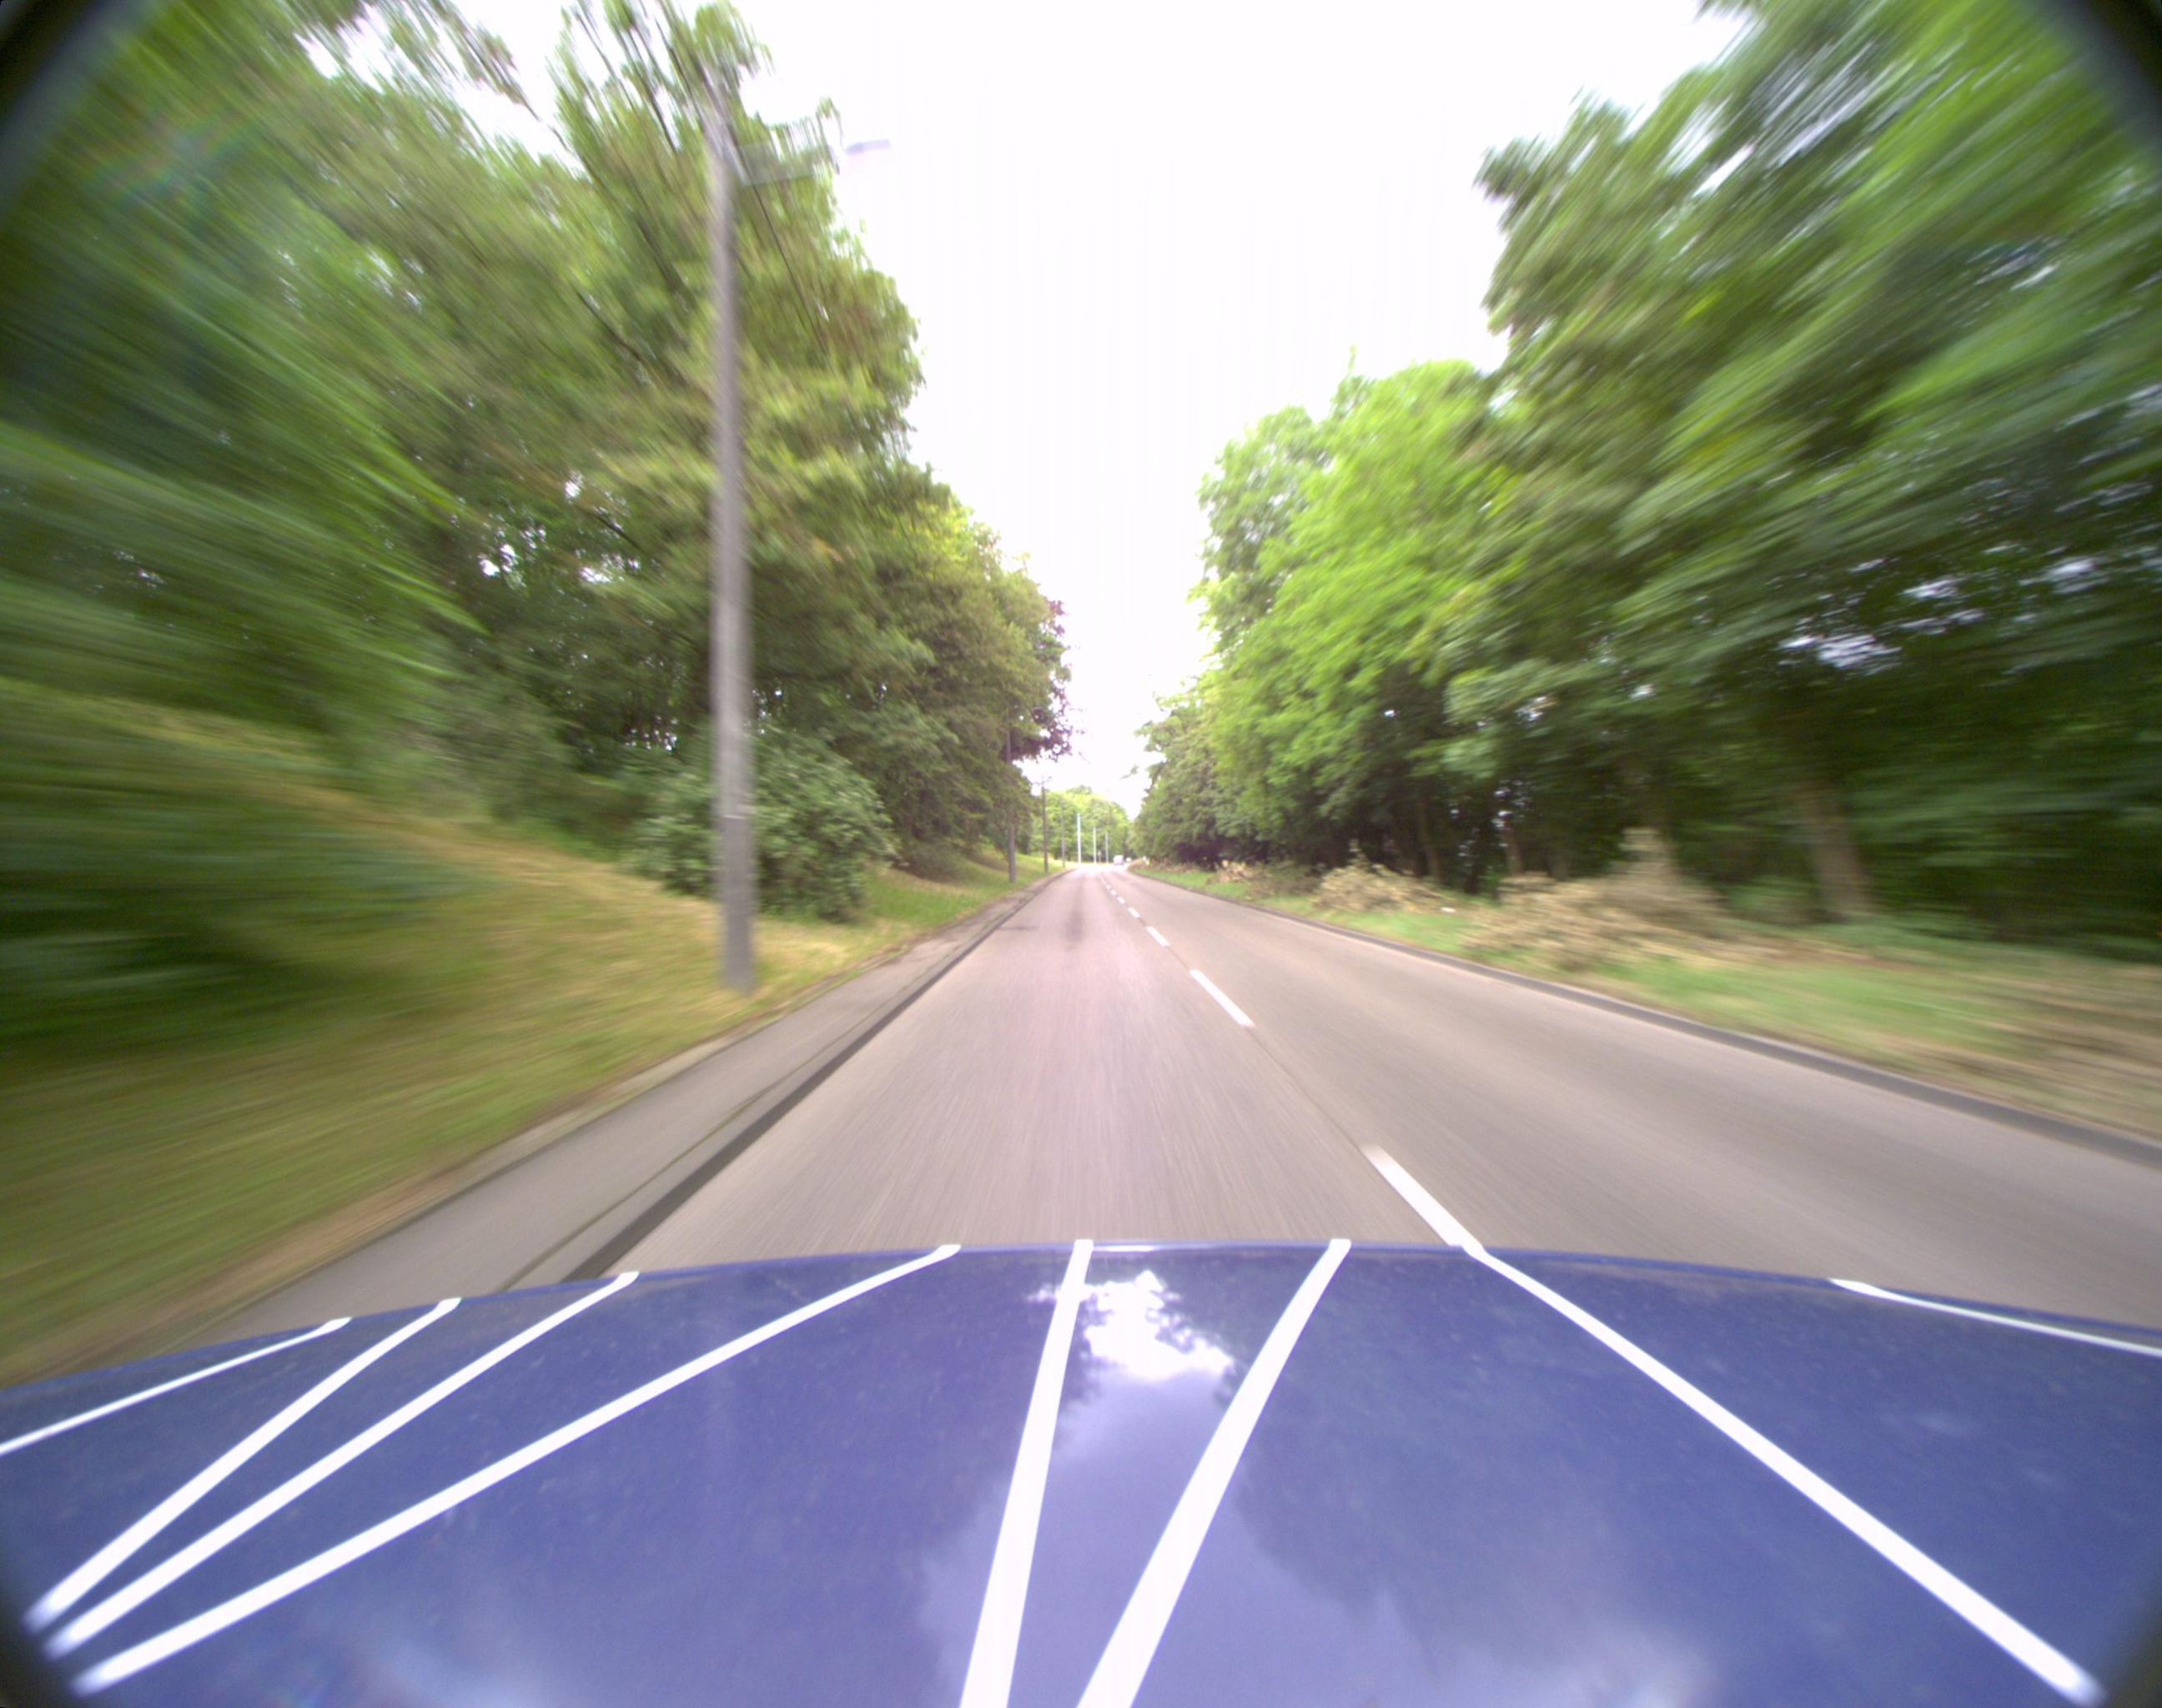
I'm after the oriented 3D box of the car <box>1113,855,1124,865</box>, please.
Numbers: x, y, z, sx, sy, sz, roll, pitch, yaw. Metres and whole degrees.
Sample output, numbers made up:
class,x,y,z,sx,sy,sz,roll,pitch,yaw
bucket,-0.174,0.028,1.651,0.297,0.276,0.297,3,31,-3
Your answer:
class,x,y,z,sx,sy,sz,roll,pitch,yaw
car,7.173,1.136,144.382,1.998,1.936,4.946,-1,0,2
